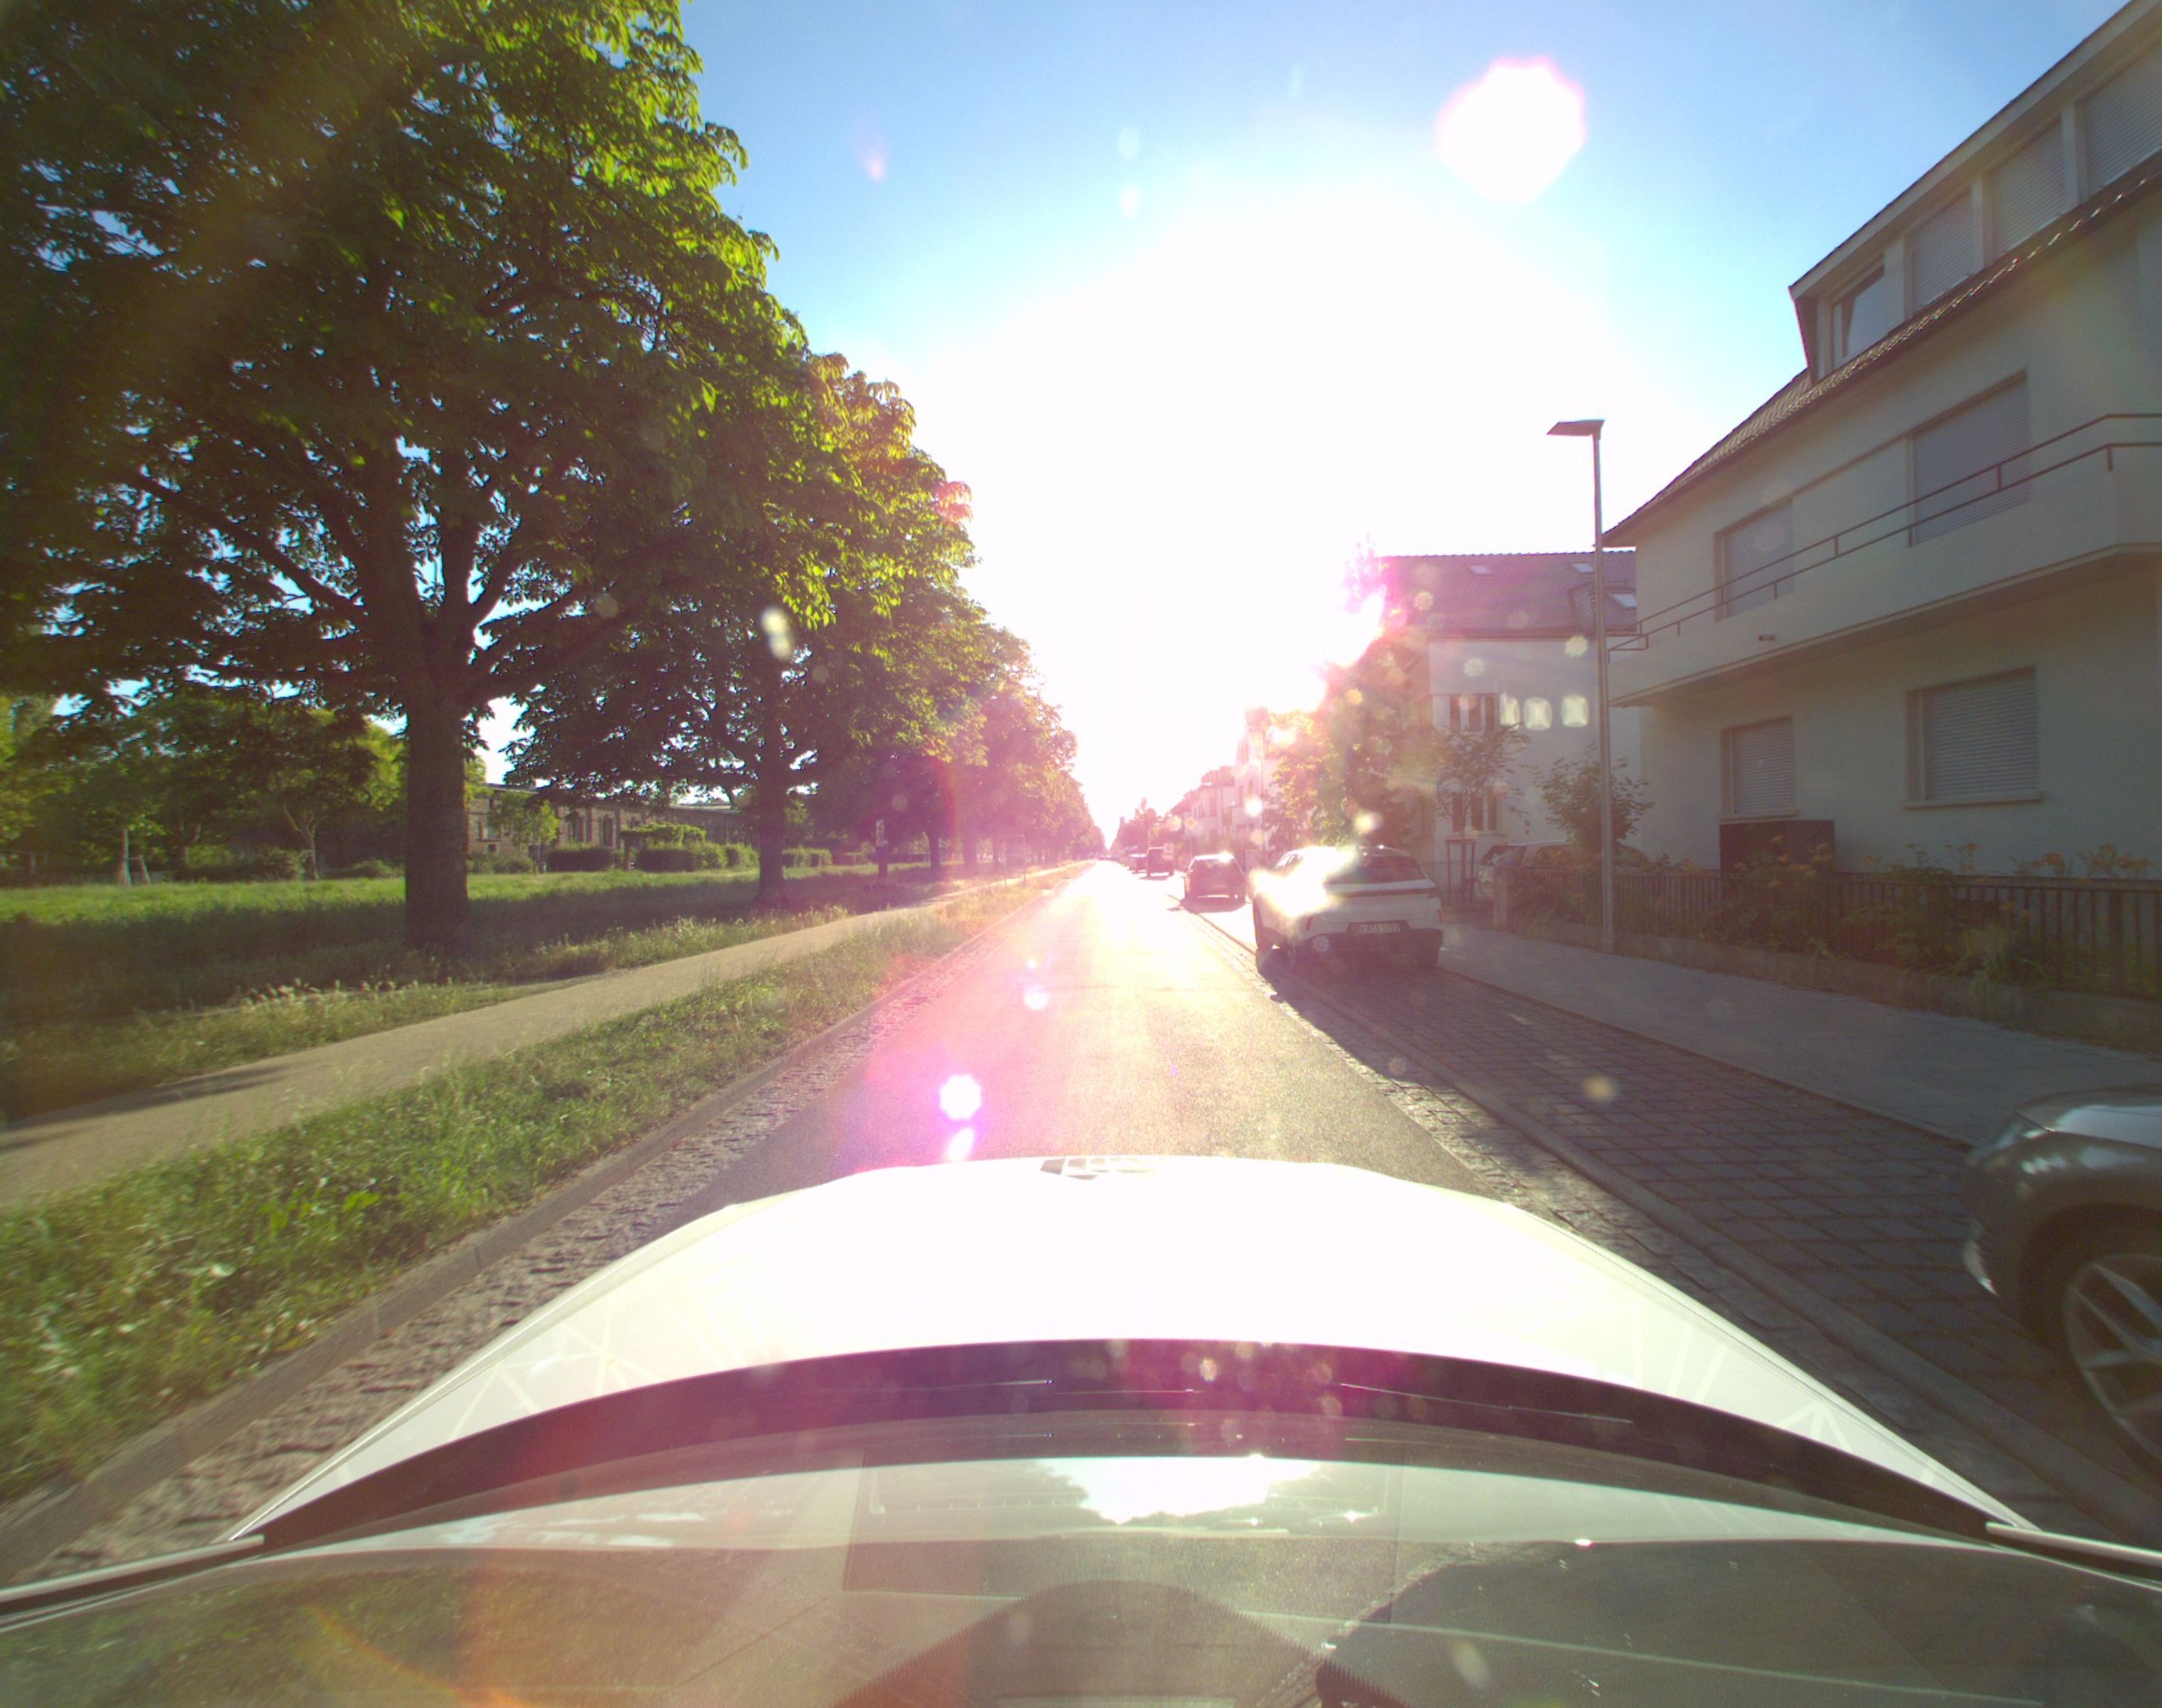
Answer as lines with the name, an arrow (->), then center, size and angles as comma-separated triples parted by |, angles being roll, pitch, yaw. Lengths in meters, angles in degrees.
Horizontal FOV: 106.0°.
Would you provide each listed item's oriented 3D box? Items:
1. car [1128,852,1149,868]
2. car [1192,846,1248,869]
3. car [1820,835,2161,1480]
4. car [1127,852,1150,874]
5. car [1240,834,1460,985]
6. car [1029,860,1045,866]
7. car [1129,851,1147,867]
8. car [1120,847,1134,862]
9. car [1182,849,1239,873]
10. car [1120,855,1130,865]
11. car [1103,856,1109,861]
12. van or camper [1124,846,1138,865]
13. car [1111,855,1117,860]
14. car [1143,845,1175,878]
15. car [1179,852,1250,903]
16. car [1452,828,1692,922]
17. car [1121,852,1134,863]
car -> 6.038, 0.648, 85.815 | 1.713, 1.574, 4.207 | -3, -1, -1
car -> 11.366, 0.330, 66.870 | 4.206, 1.726, 1.852 | -2, -1, -2
car -> 3.387, 0.699, 0.666 | 1.787, 1.494, 4.196 | -3, 0, 2
car -> 5.168, 0.795, 73.708 | 1.787, 1.771, 4.474 | -3, 0, 2
car -> 3.657, 0.638, 12.004 | 1.897, 1.708, 4.579 | -3, 0, 3
car -> -12.051, 2.436, 222.663 | 4.341, 1.764, 1.995 | 0, -1, -7
car -> 6.399, 0.519, 91.531 | 1.825, 1.685, 4.417 | 1, 0, 2
car -> 8.400, 0.078, 149.255 | 2.119, 2.532, 5.188 | -2, 0, 0
car -> 10.326, 0.559, 65.153 | 4.206, 1.726, 1.852 | -1, -1, -2
car -> 7.724, 1.064, 143.035 | 1.643, 1.530, 3.854 | -2, 0, 3
car -> 7.733, 1.300, 253.462 | 1.643, 1.530, 3.854 | 2, 0, 3
van or camper -> 7.306, 0.258, 118.845 | 1.936, 2.777, 5.942 | 0, -1, 2
car -> 9.661, 0.959, 236.770 | 1.643, 1.530, 3.854 | 2, 0, 3
car -> 5.386, 0.483, 56.934 | 1.898, 2.132, 4.818 | -3, 0, 3
car -> 4.381, 0.720, 27.226 | 1.787, 1.482, 4.126 | -3, 0, 2
car -> 10.147, 0.410, 17.013 | 3.975, 1.845, 1.813 | 0, 1, -4
car -> 6.408, 0.471, 112.268 | 1.657, 1.593, 4.088 | 0, 0, 2
